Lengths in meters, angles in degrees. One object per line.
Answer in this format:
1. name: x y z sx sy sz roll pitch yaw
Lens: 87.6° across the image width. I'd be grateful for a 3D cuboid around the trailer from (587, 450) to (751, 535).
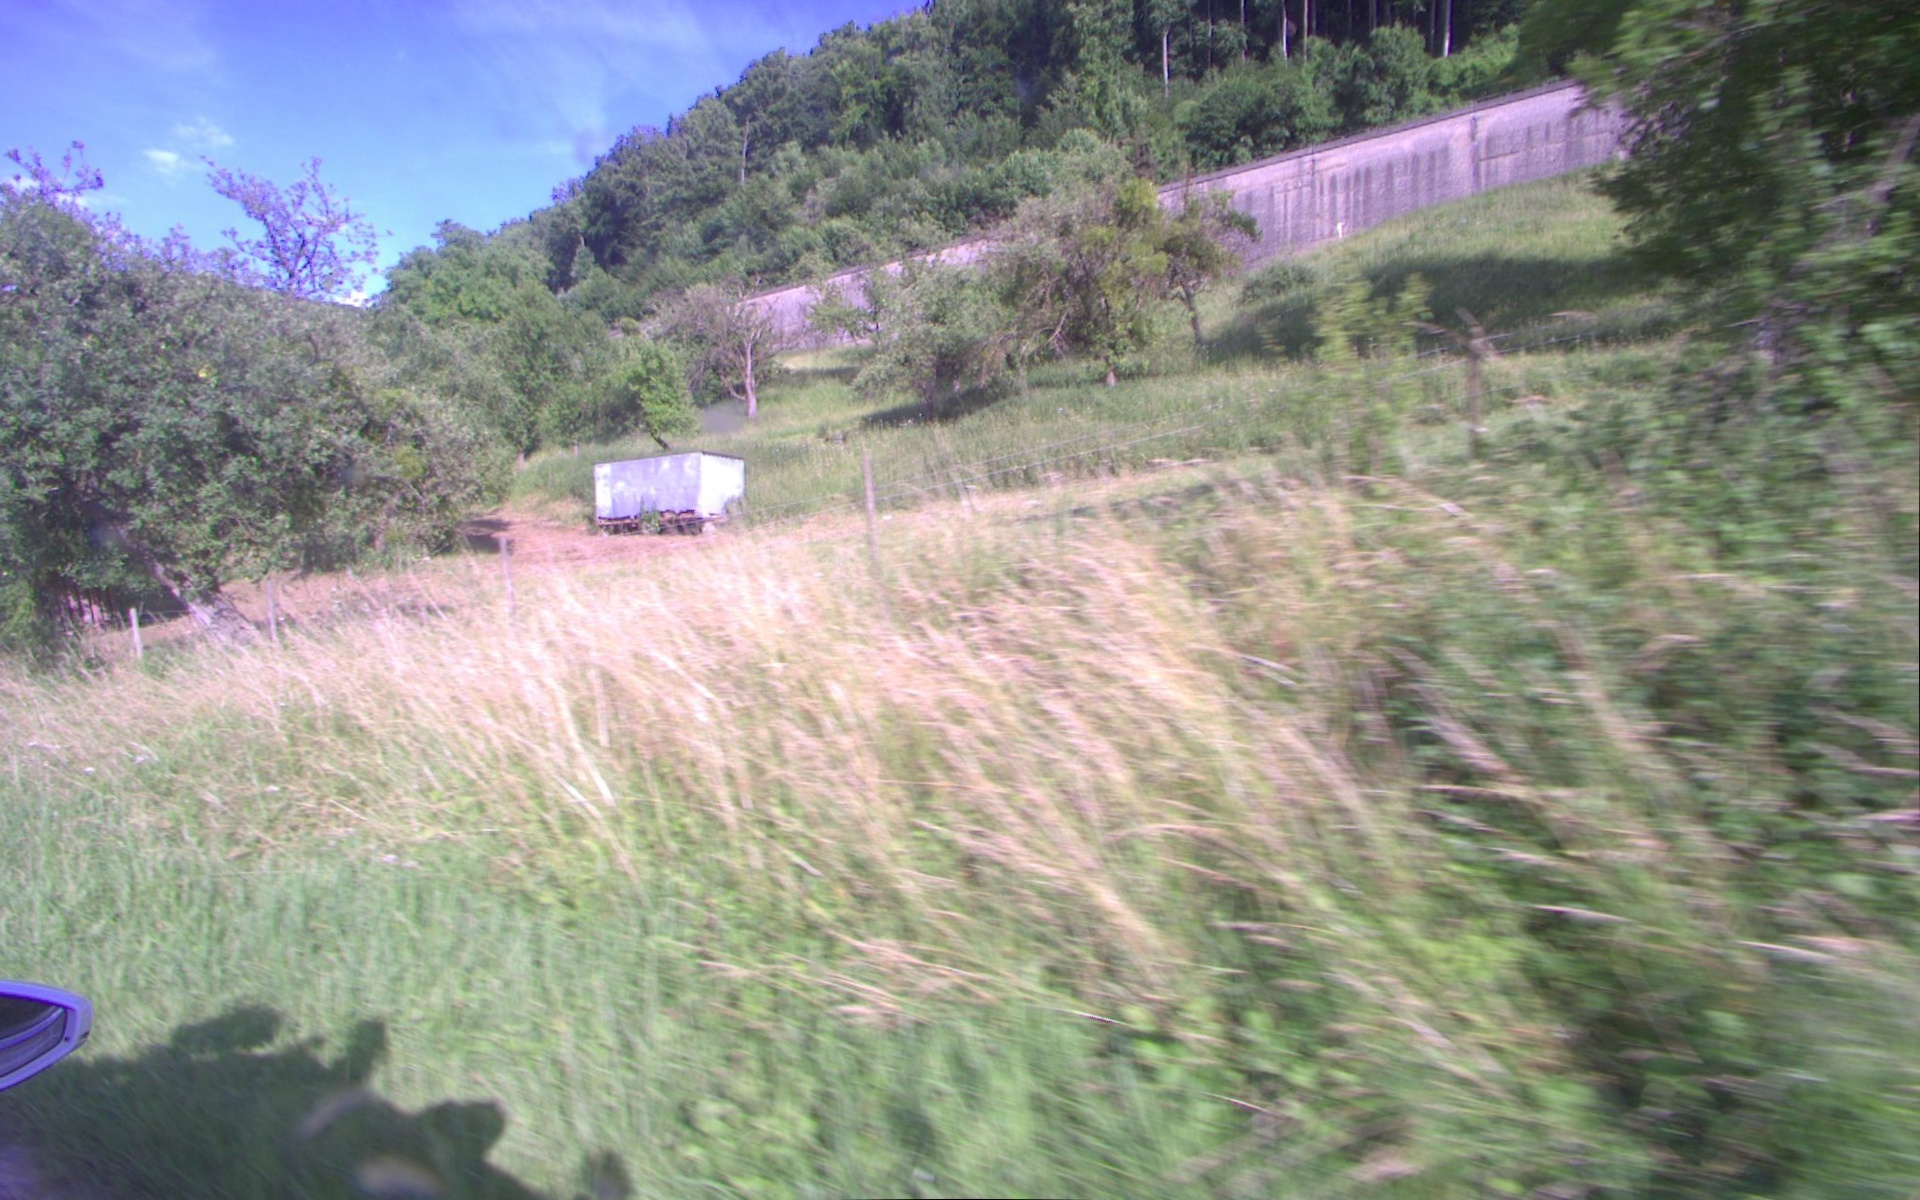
1. trailer: -9.675 -3.495 33.257 5.163 2.595 2.149 2 4 28
